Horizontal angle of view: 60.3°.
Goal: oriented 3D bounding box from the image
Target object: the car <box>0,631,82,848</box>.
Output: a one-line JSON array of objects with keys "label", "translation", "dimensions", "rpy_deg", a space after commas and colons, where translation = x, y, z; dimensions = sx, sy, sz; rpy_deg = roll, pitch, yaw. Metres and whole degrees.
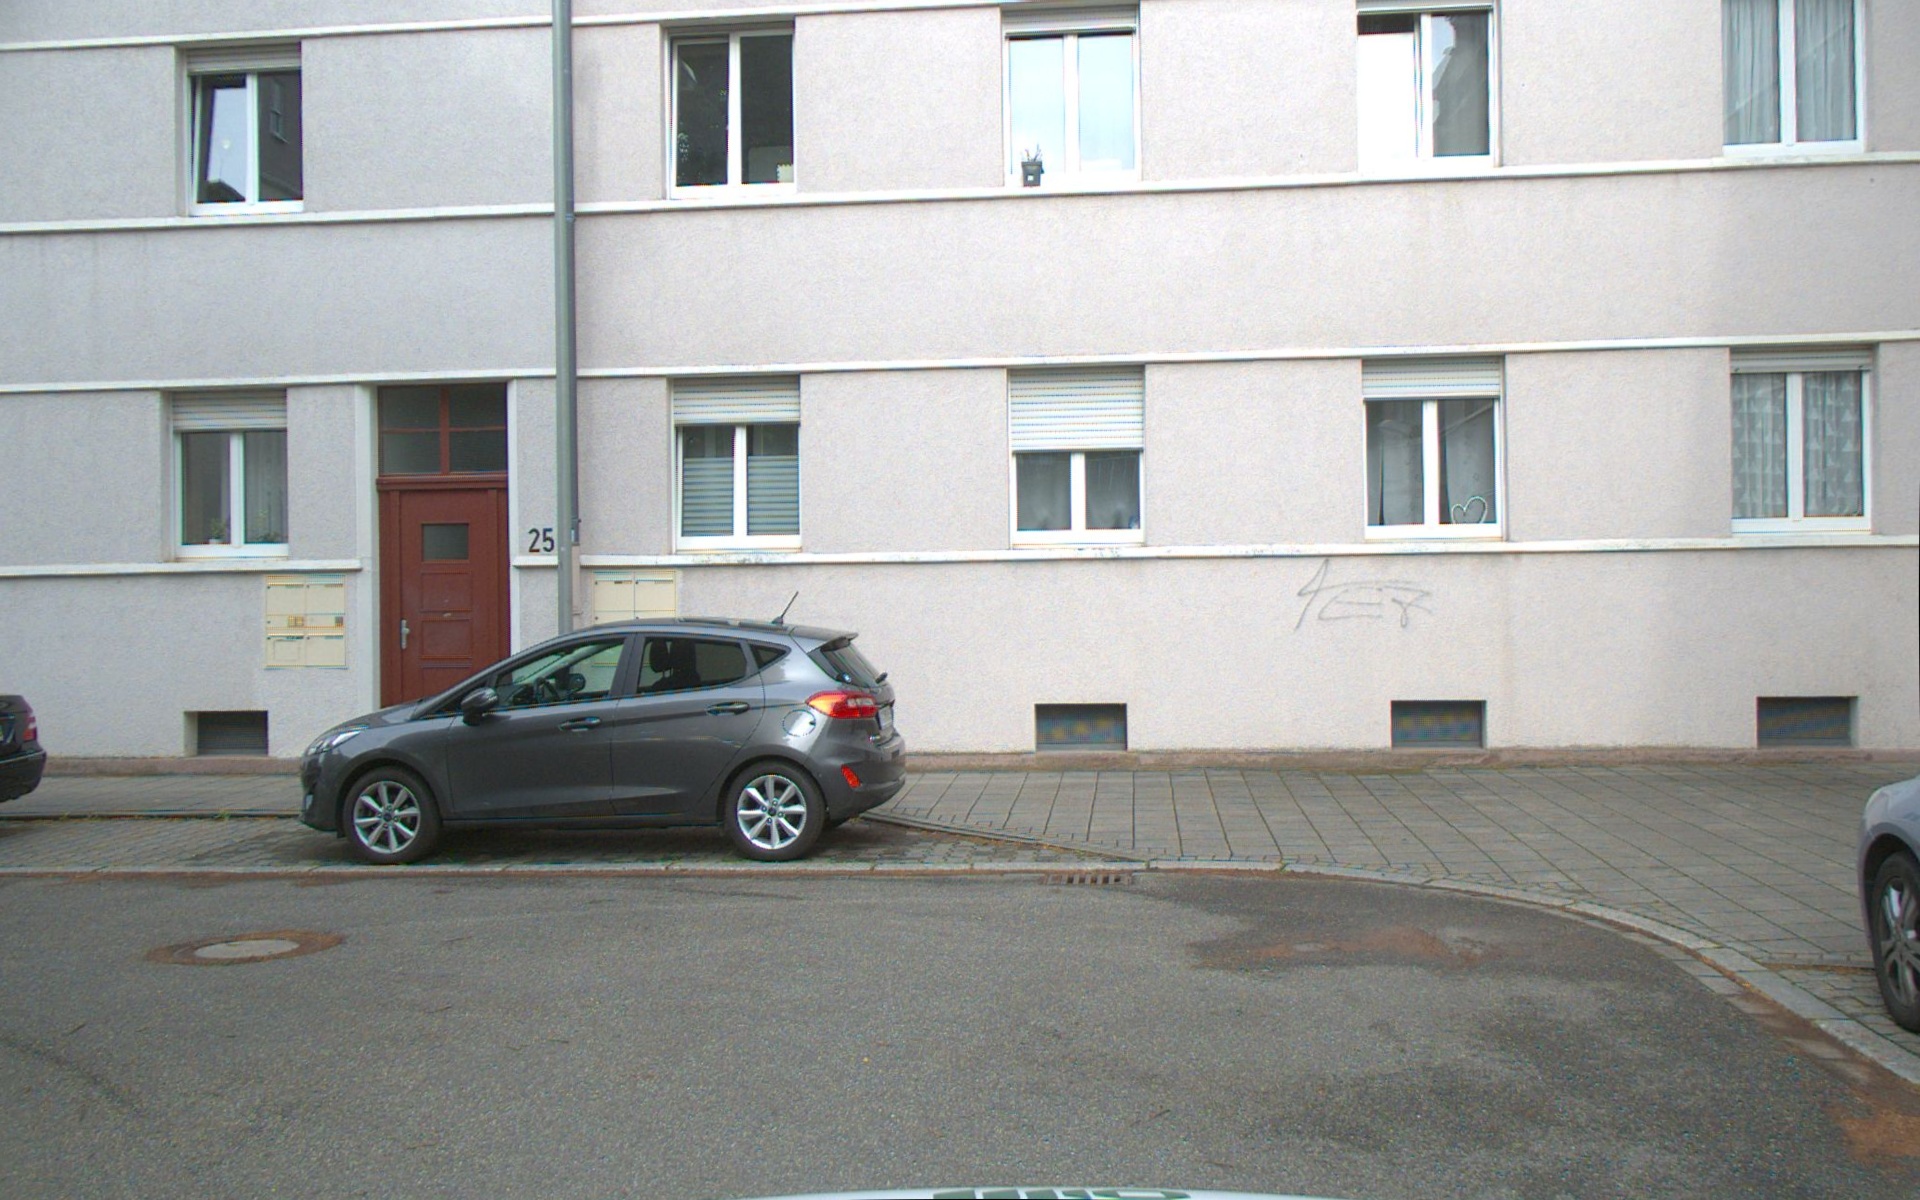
[{"label": "car", "translation": [-8.939, 0.981, 11.459], "dimensions": [4.829, 1.445, 1.752], "rpy_deg": [0, 1, 4]}]

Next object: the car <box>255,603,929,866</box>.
[{"label": "car", "translation": [-2.278, 0.821, 10.919], "dimensions": [3.980, 1.552, 1.764], "rpy_deg": [0, 1, 4]}]

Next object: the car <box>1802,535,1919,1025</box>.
[{"label": "car", "translation": [3.927, 0.587, 4.430], "dimensions": [1.719, 1.656, 4.203], "rpy_deg": [-1, -1, 9]}]
